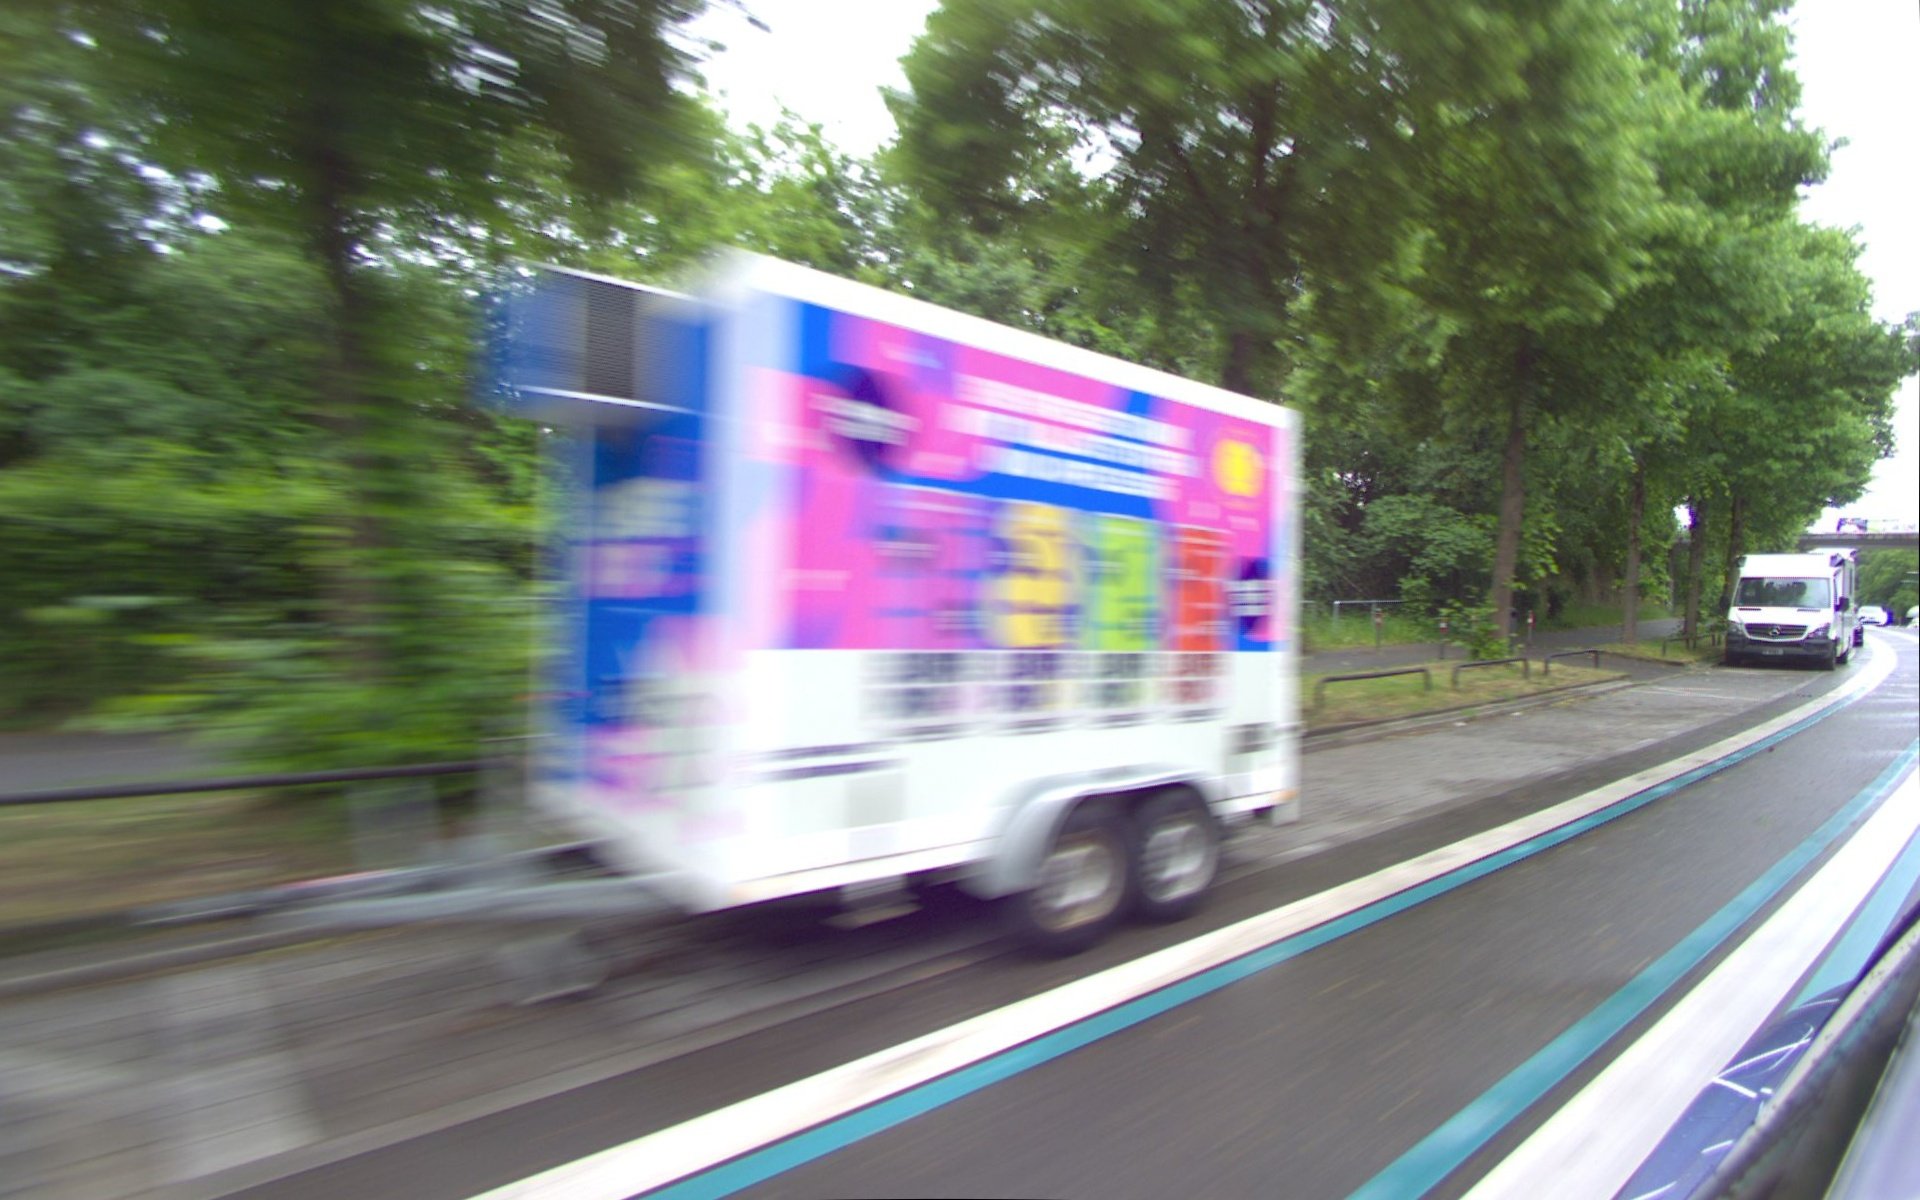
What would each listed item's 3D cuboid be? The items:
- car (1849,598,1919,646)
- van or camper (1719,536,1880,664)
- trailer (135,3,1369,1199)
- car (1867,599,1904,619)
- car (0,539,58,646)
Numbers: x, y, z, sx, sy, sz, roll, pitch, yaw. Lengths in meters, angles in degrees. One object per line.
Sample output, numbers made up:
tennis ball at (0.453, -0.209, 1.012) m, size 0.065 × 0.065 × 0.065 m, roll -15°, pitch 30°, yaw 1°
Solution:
car at (30.404, 0.676, 33.223) m, size 1.676 × 1.393 × 3.943 m, roll 1°, pitch 2°, yaw 39°
van or camper at (20.326, -0.009, 24.371) m, size 6.276 × 2.698 × 2.318 m, roll 0°, pitch 0°, yaw -44°
trailer at (-0.457, 0.063, 4.784) m, size 5.282 × 2.706 × 2.320 m, roll 0°, pitch 0°, yaw -41°
car at (71.229, 0.693, 77.928) m, size 1.820 × 1.481 × 3.827 m, roll 0°, pitch -2°, yaw 38°
car at (-13.212, -0.109, 12.776) m, size 1.852 × 1.338 × 4.157 m, roll 0°, pitch 3°, yaw -29°
